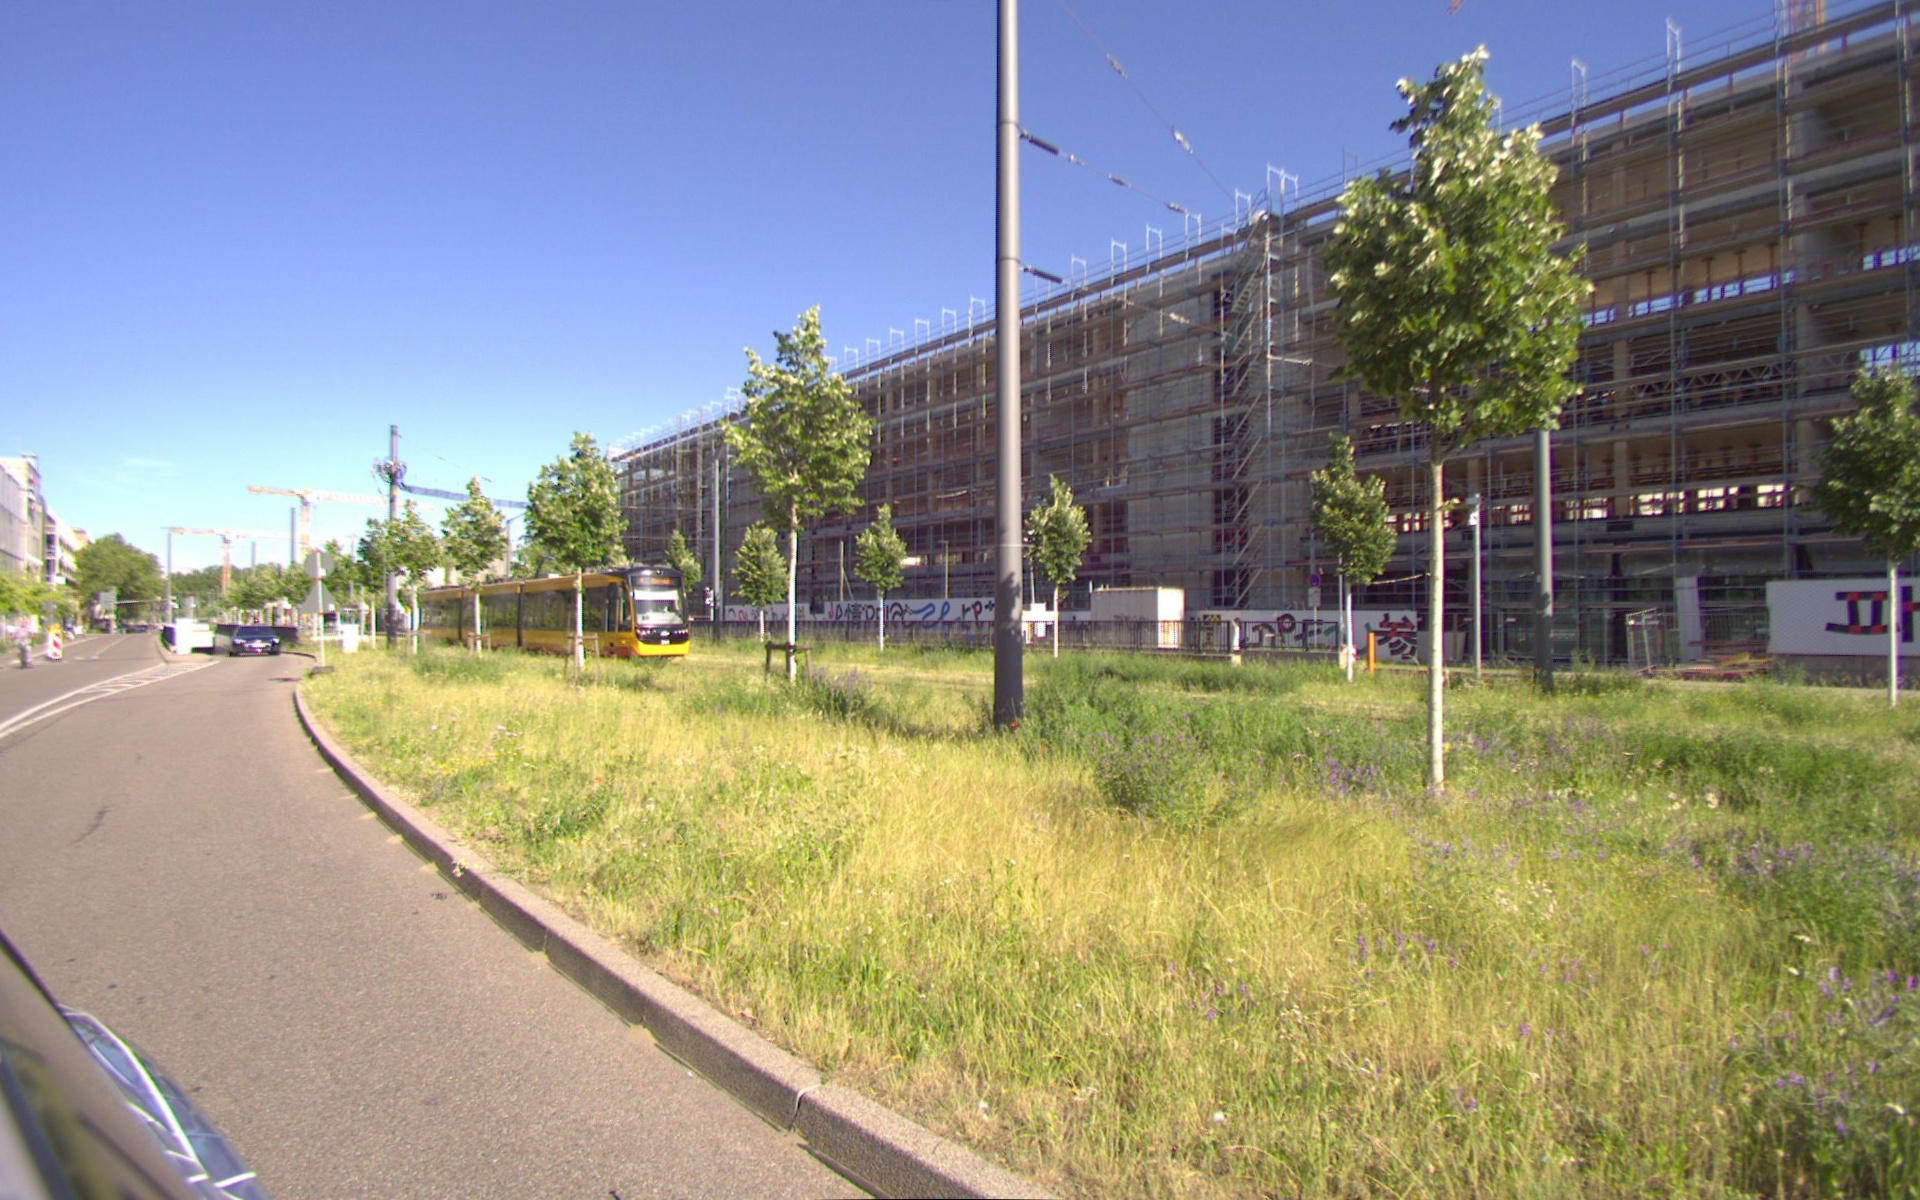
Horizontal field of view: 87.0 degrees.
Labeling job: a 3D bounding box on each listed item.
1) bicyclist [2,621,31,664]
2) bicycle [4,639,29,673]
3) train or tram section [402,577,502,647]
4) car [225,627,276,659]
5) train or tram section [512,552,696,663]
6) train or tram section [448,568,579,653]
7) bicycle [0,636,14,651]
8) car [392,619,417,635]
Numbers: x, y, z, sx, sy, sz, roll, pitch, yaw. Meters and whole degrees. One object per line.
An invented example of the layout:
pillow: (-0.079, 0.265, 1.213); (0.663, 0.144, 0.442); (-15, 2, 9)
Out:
bicyclist: (-33.900, 1.520, 36.369); (0.744, 1.473, 0.588); (0, 0, -44)
bicycle: (-33.926, 2.009, 36.393); (0.601, 1.160, 1.989); (1, -2, -44)
train or tram section: (-30.049, 0.743, 59.487); (2.779, 3.666, 12.814); (1, -1, -38)
car: (-34.031, 2.016, 48.529); (1.898, 1.454, 4.186); (1, -1, -36)
train or tram section: (-14.220, 0.370, 39.377); (2.779, 3.666, 12.814); (1, -1, -38)
train or tram section: (-22.097, 0.574, 49.464); (2.779, 3.666, 12.814); (1, -1, -38)
bicycle: (-69.917, 3.177, 73.459); (0.466, 1.070, 1.719); (-2, -4, 35)
car: (-77.455, 3.765, 141.185); (2.302, 2.175, 4.405); (1, -1, -39)
